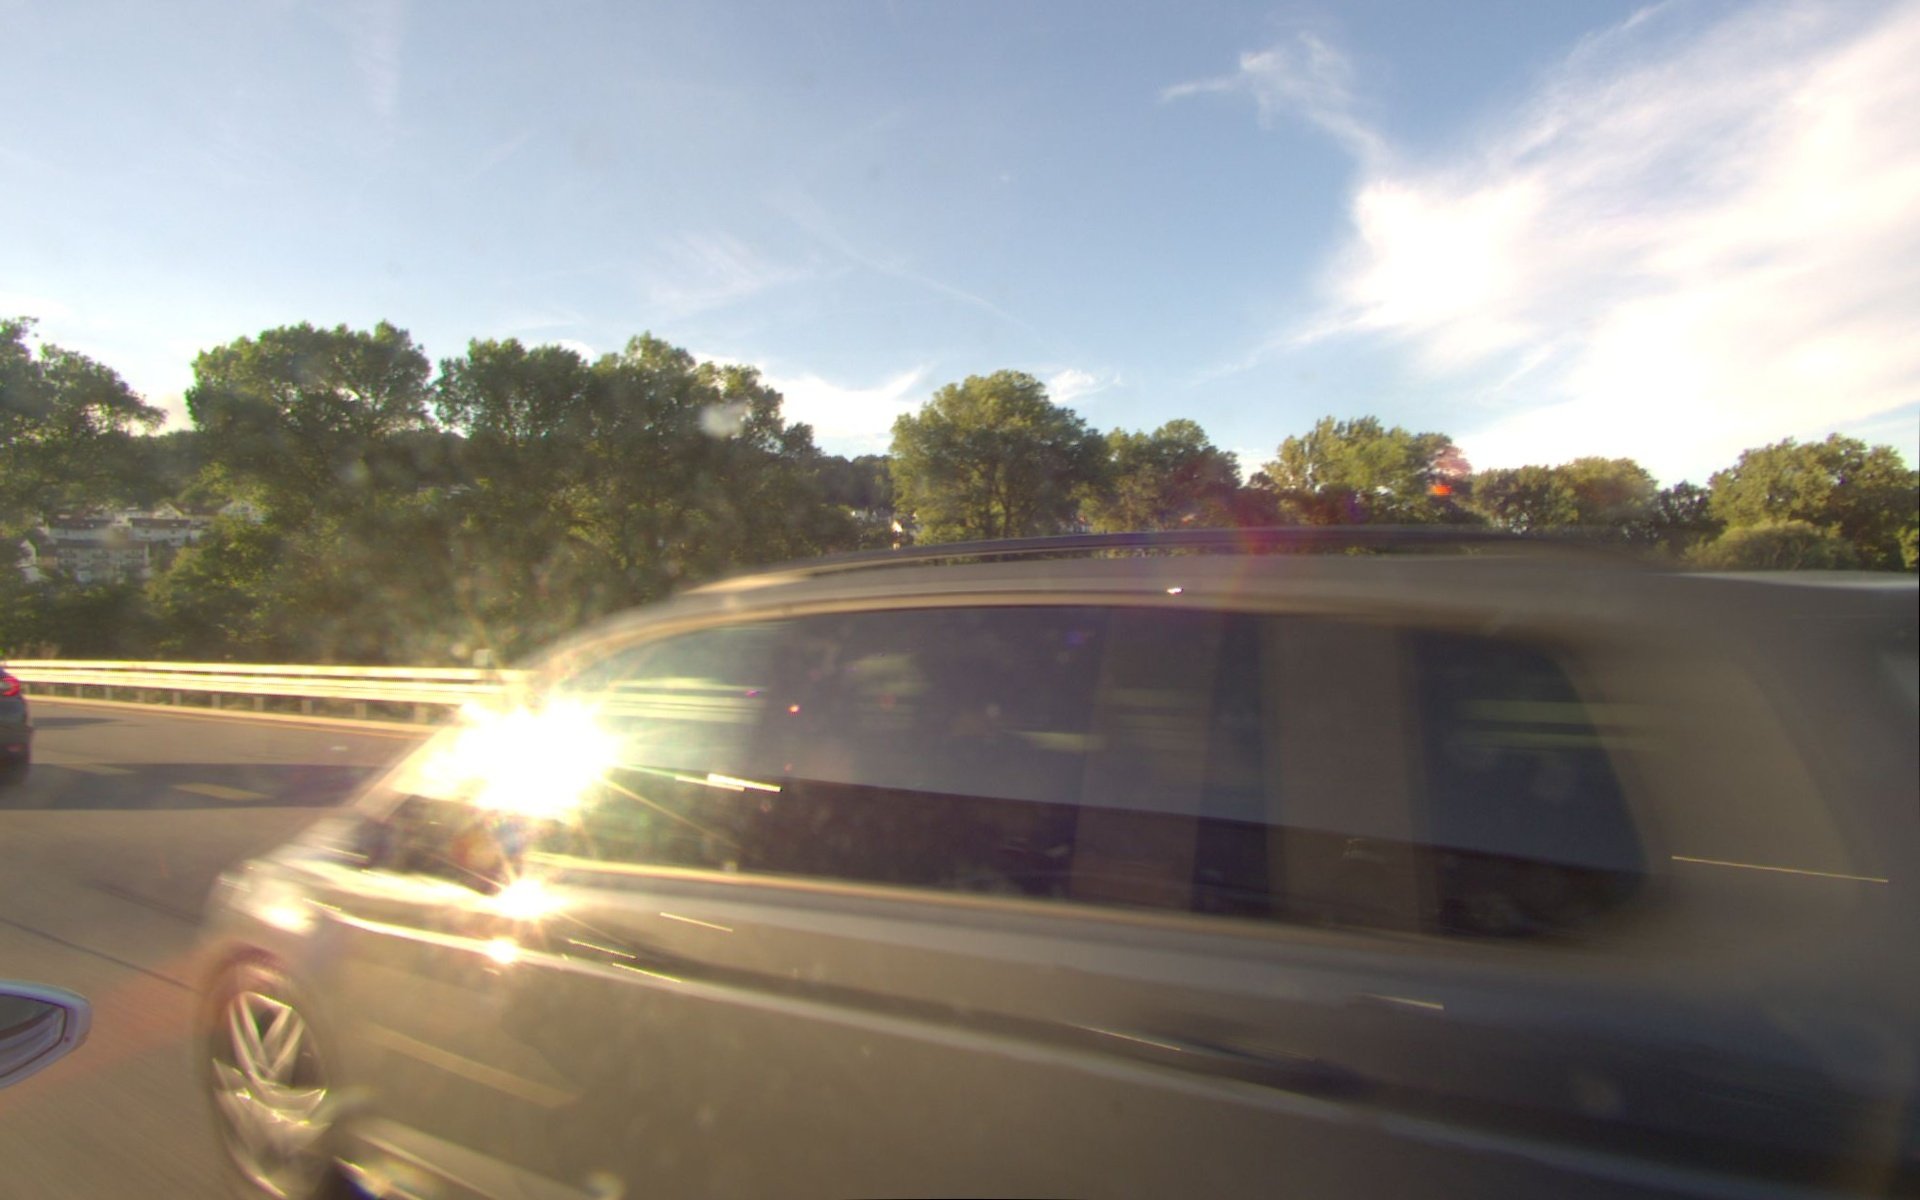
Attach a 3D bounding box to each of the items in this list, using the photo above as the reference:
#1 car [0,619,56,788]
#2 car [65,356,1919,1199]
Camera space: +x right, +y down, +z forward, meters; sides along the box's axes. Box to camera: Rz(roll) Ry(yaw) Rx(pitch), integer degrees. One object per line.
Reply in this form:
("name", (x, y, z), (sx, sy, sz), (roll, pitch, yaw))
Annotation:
("car", (-11.142, 1.015, 10.223), (4.075, 1.606, 1.771), (-1, -2, 32))
("car", (-0.370, 0.696, 2.705), (4.460, 1.635, 1.811), (-2, -3, 31))
